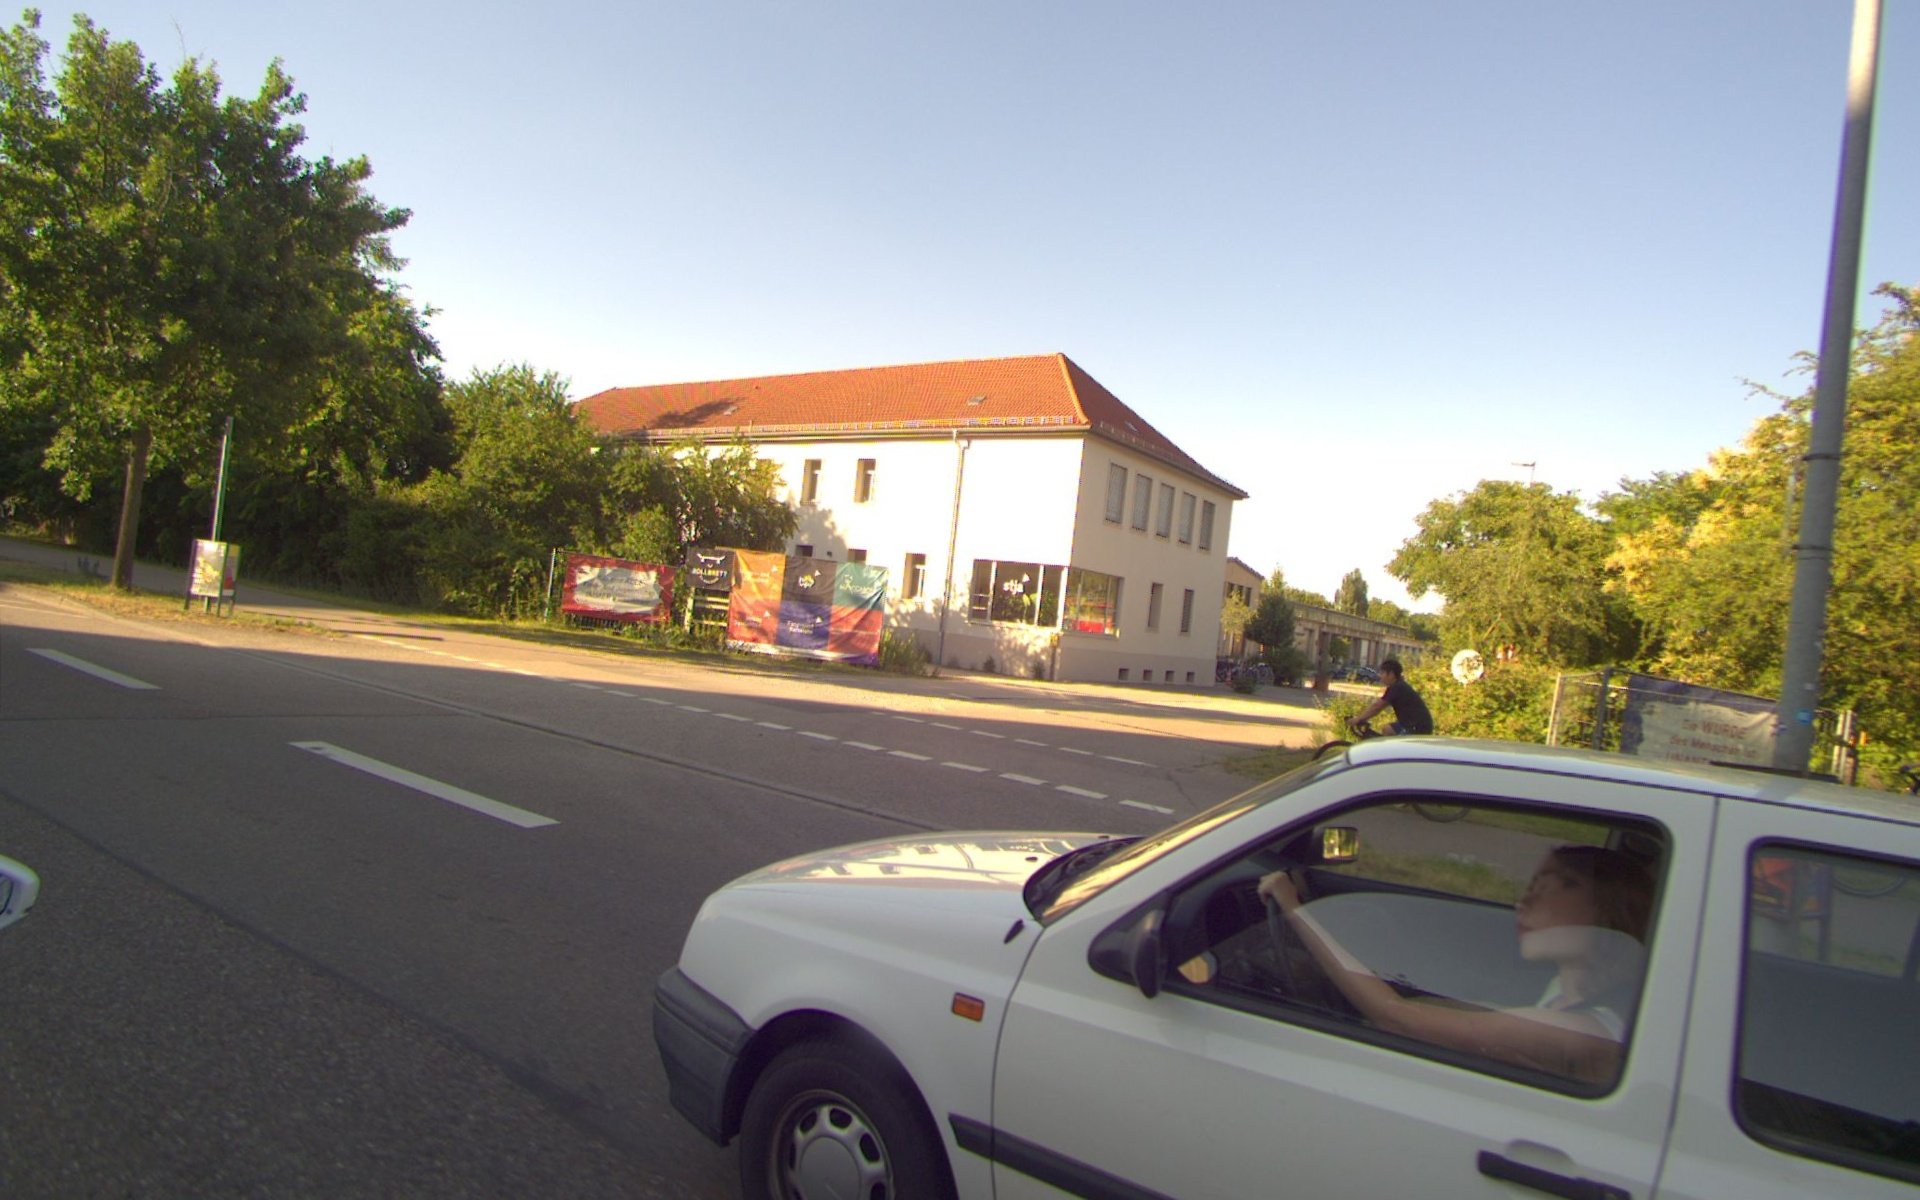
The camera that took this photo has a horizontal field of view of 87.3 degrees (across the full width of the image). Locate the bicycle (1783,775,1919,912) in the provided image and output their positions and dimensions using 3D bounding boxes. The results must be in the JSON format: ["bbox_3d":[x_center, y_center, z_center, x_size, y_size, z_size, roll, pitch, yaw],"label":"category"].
[{"bbox_3d":[8.623,2.236,8.825,2.025,0.985,0.617,6,0,32],"label":"bicycle"}]

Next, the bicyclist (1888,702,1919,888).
[{"bbox_3d":[8.795,1.744,8.743,0.834,1.598,0.604,6,0,32],"label":"bicyclist"}]

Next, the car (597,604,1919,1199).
[{"bbox_3d":[1.288,1.002,2.144,3.971,1.414,1.614,7,-2,31],"label":"car"}]

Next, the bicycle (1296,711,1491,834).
[{"bbox_3d":[4.716,1.838,10.990,1.792,0.985,0.617,6,0,32],"label":"bicycle"}]

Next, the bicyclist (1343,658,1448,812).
[{"bbox_3d":[4.759,1.446,10.991,0.834,1.520,0.613,6,0,32],"label":"bicyclist"}]
